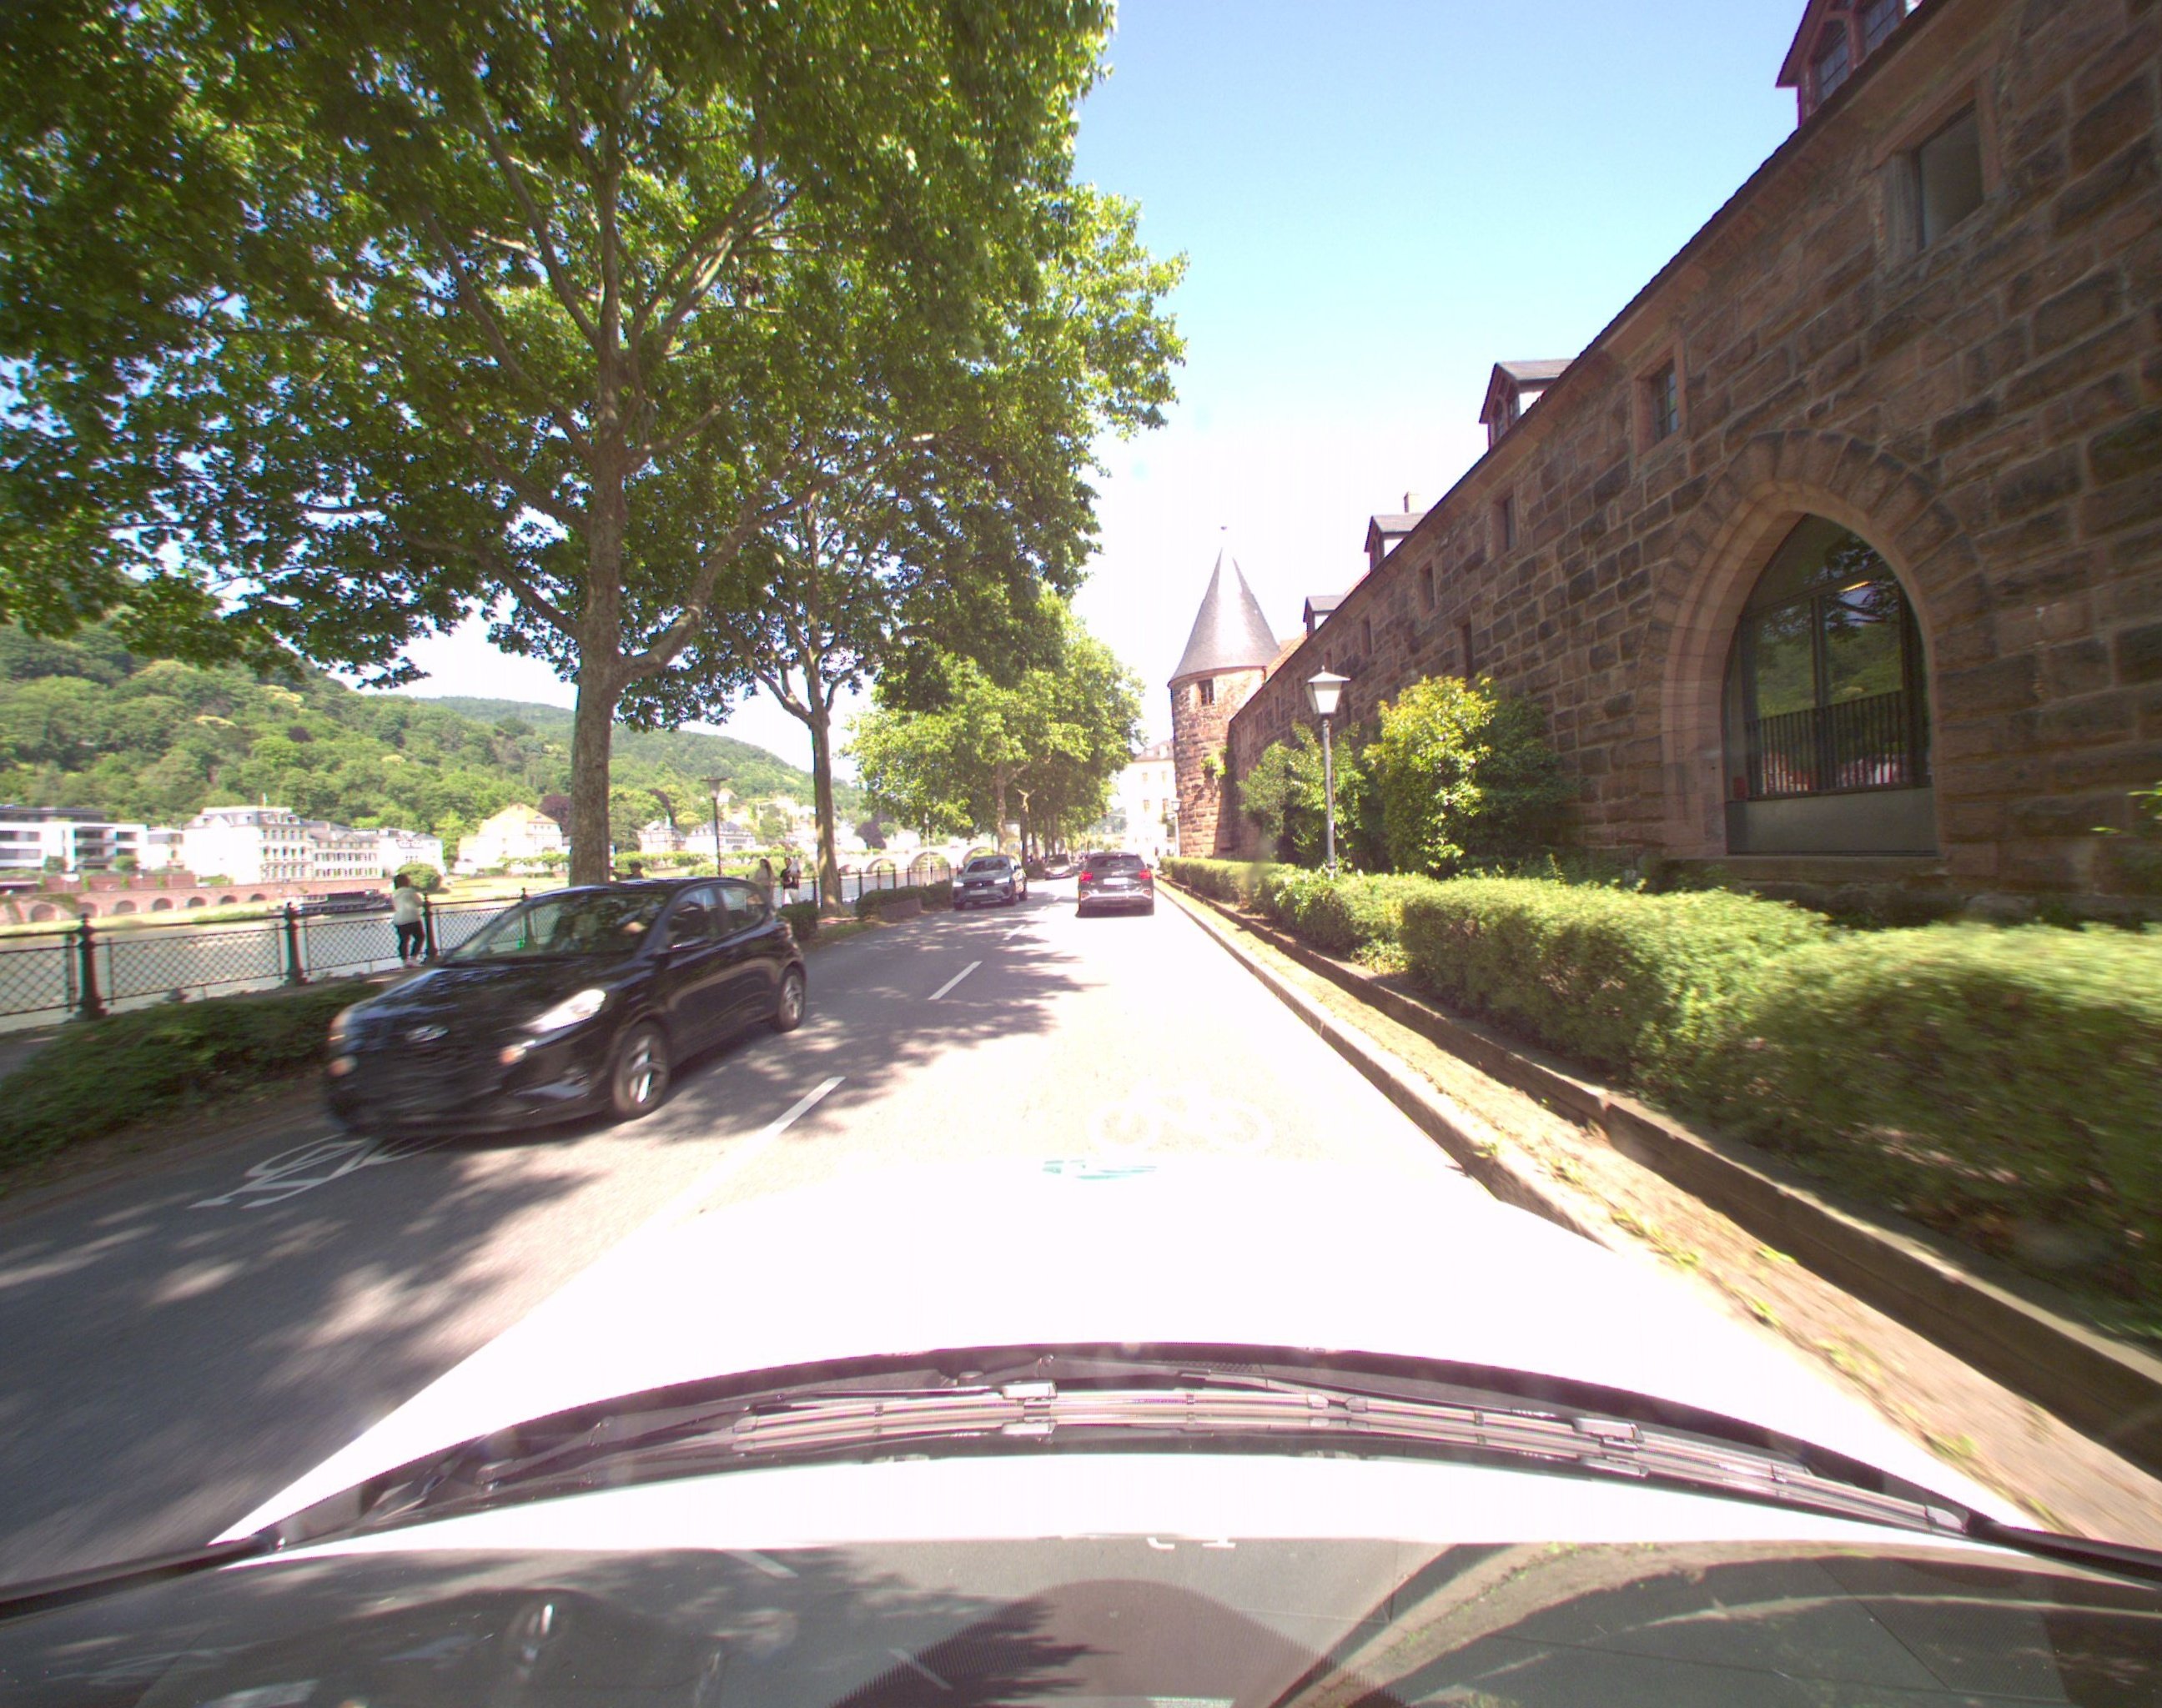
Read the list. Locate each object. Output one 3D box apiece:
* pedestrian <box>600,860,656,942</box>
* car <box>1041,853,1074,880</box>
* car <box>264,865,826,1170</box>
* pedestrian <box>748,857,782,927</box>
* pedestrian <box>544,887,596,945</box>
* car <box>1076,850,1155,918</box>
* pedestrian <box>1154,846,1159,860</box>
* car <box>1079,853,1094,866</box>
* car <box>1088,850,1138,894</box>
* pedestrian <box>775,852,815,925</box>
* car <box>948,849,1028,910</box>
[{"bbox_3d":[-9.799,0.996,17.639,0.690,1.717,0.874,-1,-1,1],"label":"pedestrian"},{"bbox_3d":[-1.547,0.790,54.453,1.756,1.647,4.092,-4,0,3],"label":"car"},{"bbox_3d":[-3.461,0.902,6.243,1.643,1.469,3.781,-4,0,1],"label":"car"},{"bbox_3d":[-8.313,0.989,21.424,0.514,1.768,0.592,-4,0,3],"label":"pedestrian"},{"bbox_3d":[-11.179,1.356,17.836,0.607,1.177,0.696,-4,0,3],"label":"pedestrian"},{"bbox_3d":[0.813,0.678,20.043,1.742,1.494,3.630,-1,0,1],"label":"car"},{"bbox_3d":[8.340,-0.110,90.094,0.554,1.633,0.661,-1,-1,3],"label":"pedestrian"},{"bbox_3d":[0.718,0.712,107.542,1.607,1.523,3.480,-4,0,4],"label":"car"},{"bbox_3d":[1.300,0.679,32.617,1.794,1.562,3.718,-4,0,3],"label":"car"},{"bbox_3d":[-7.692,0.912,21.914,0.638,1.870,0.806,-4,0,3],"label":"pedestrian"},{"bbox_3d":[-2.928,0.772,26.539,1.870,1.698,4.260,-4,0,1],"label":"car"}]
